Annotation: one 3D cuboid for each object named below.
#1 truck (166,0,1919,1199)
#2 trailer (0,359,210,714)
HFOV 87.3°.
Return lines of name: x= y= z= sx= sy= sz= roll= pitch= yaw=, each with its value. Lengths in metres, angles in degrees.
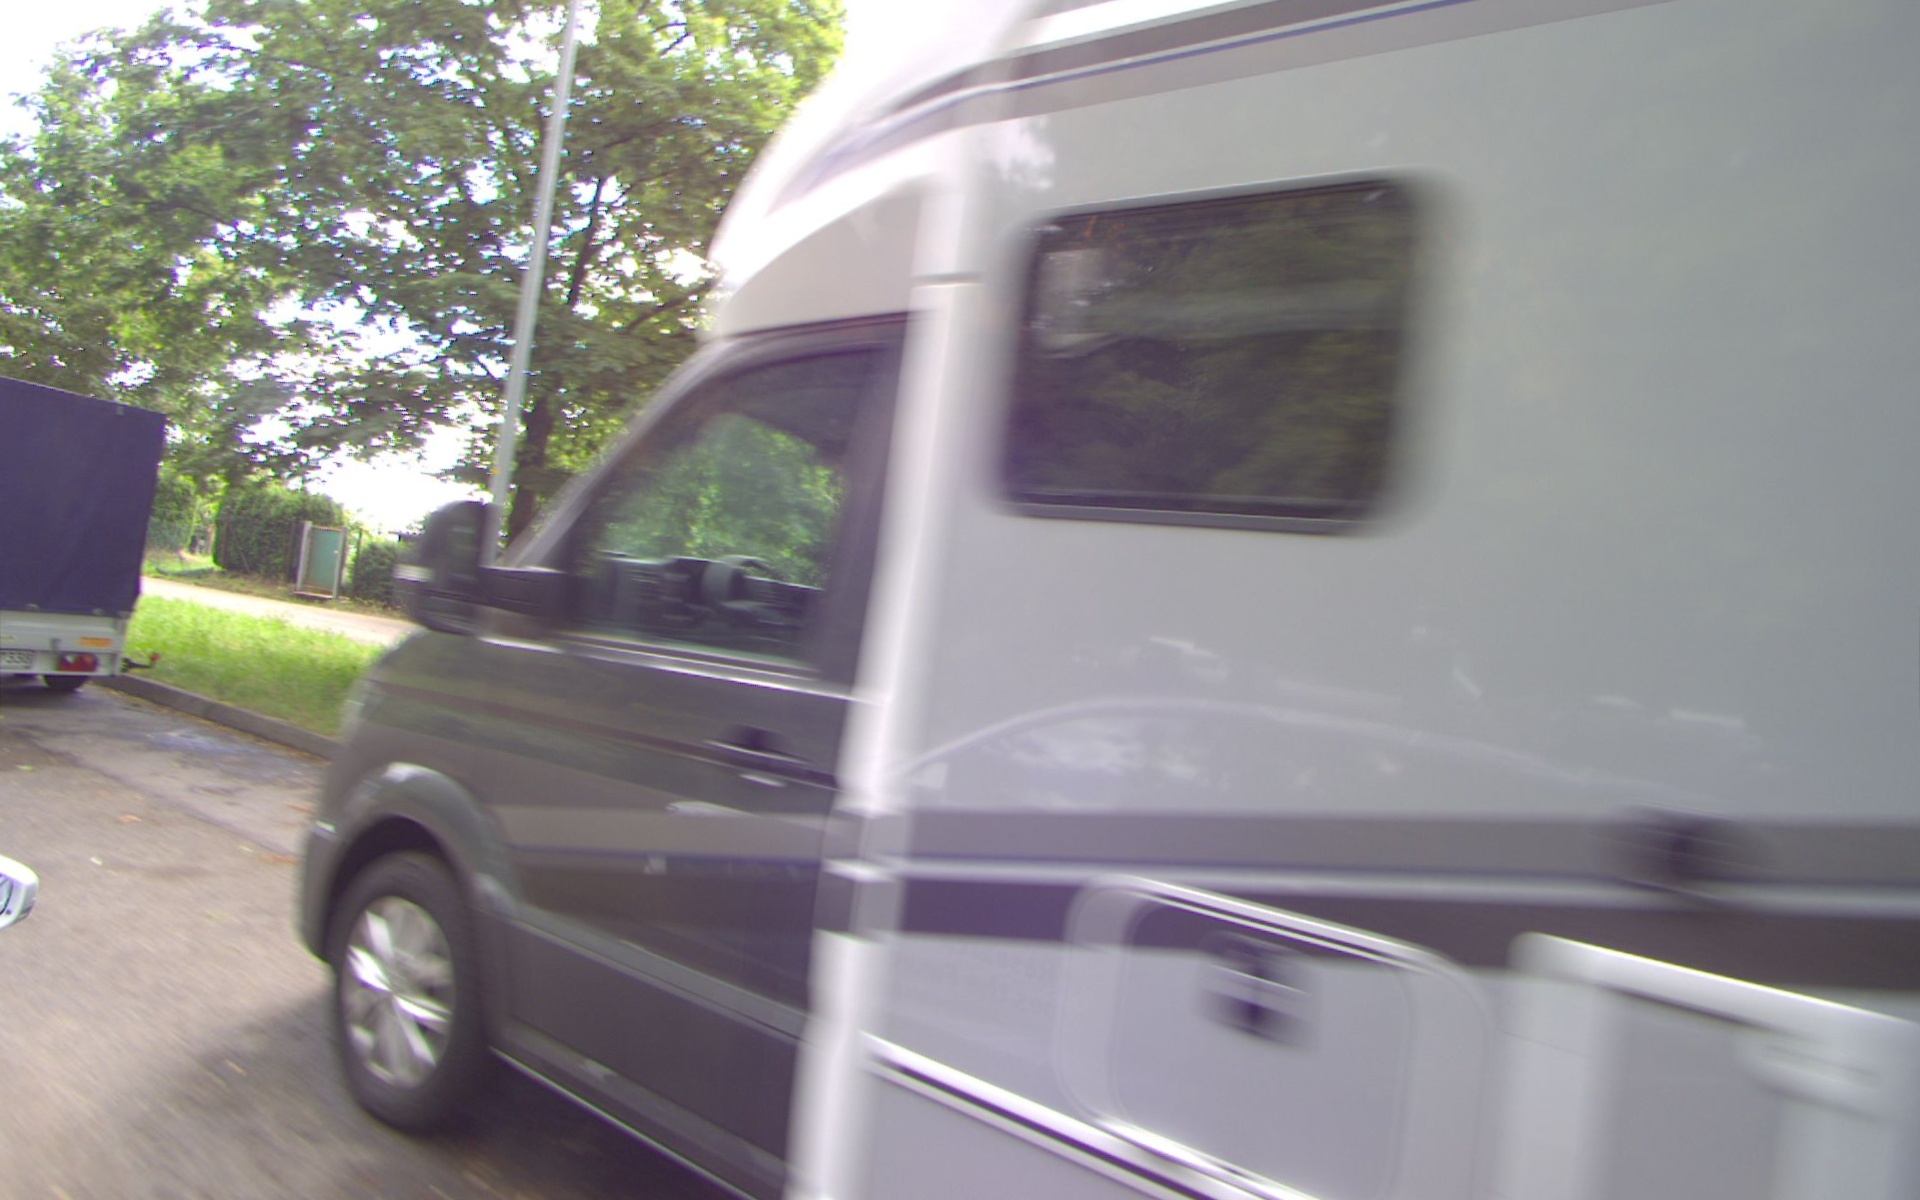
truck: x=1.156 y=0.256 z=2.349 sx=6.917 sy=2.968 sz=2.307 roll=7 pitch=-1 yaw=32
trailer: x=-8.485 y=-0.735 z=7.890 sx=4.617 sy=2.391 sz=2.112 roll=9 pitch=1 yaw=26
